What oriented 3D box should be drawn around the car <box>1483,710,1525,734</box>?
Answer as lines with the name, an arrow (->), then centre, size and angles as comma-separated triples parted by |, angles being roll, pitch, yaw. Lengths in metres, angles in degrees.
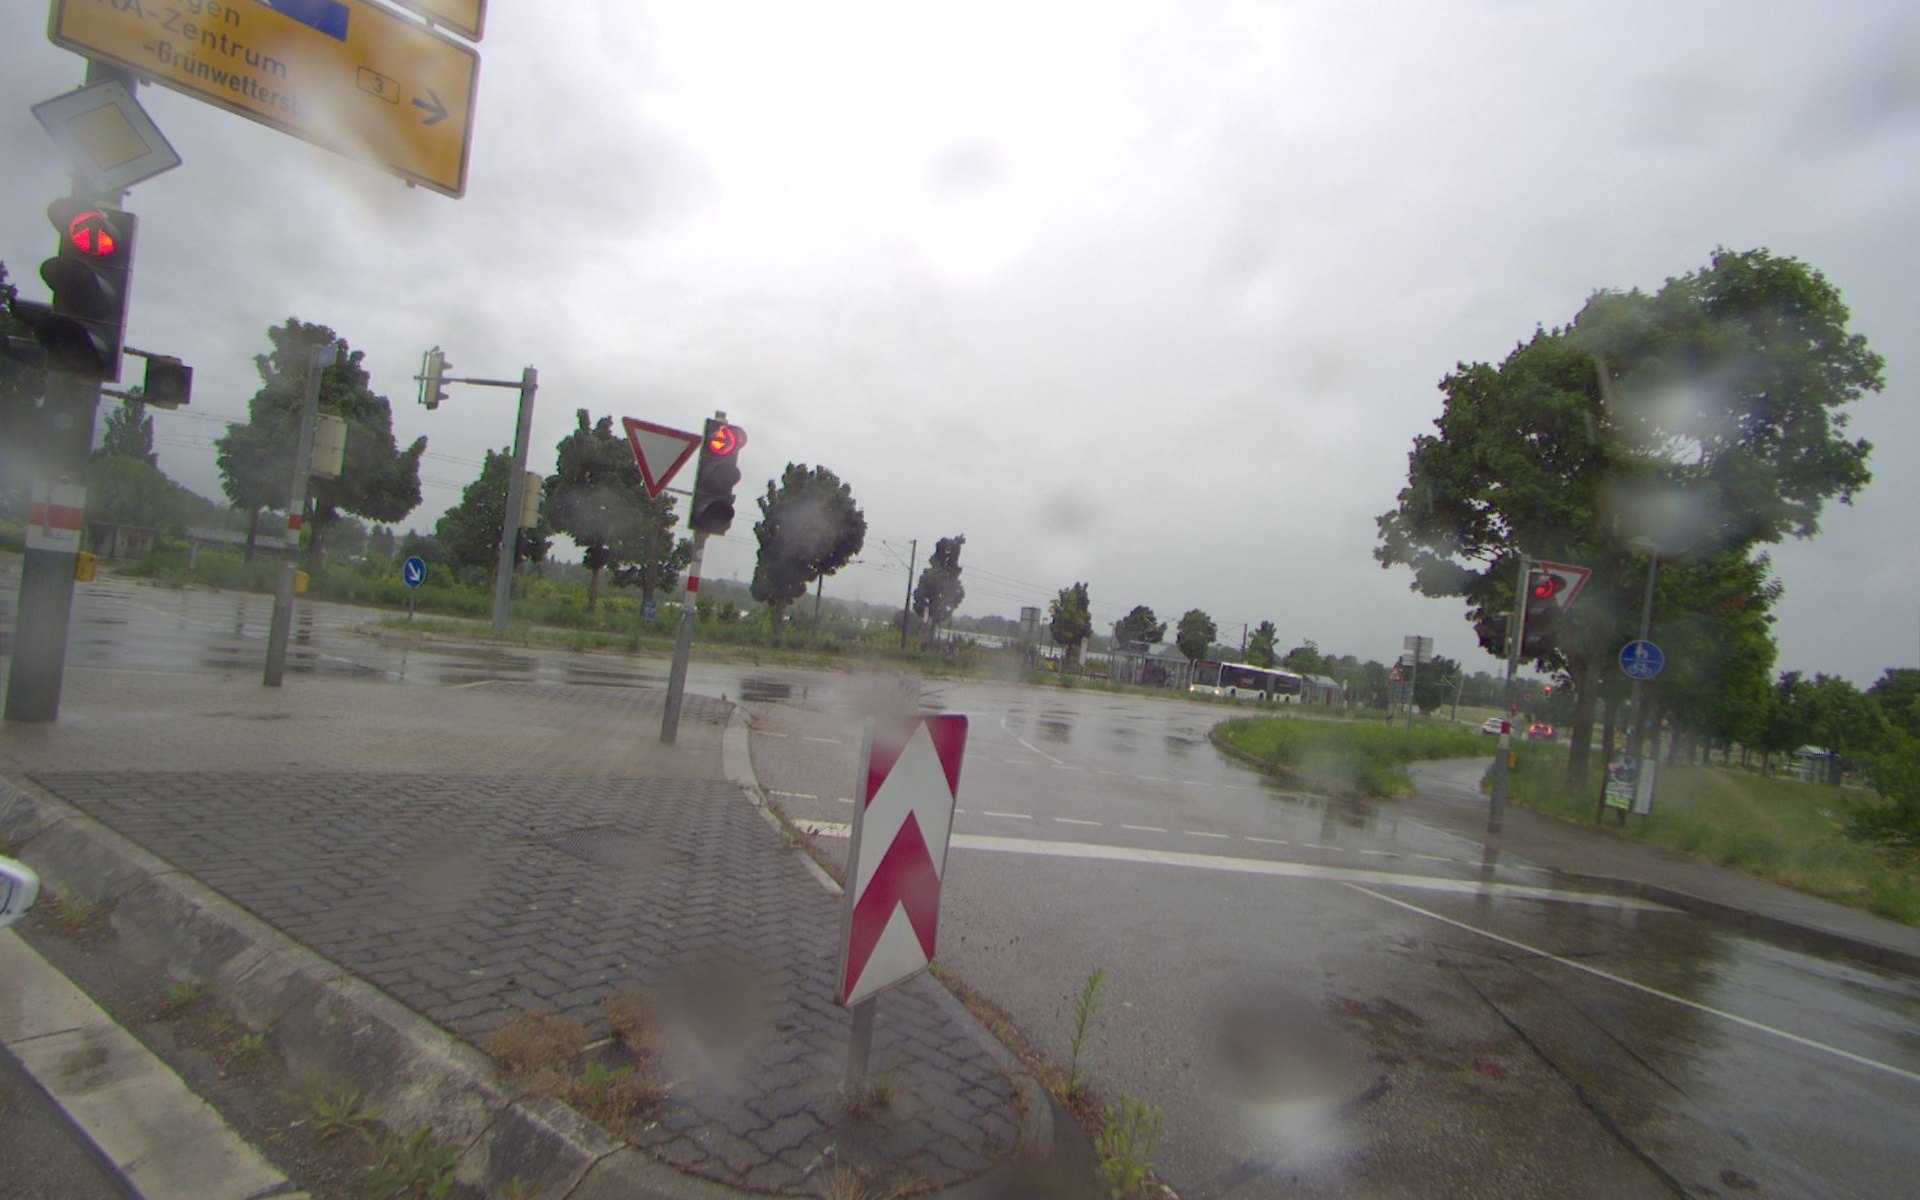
car -> 39.915, 8.950, 73.716 | 1.853, 1.370, 4.036 | 6, -2, 40

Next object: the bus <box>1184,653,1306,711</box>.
bus -> 24.290, 7.038, 84.312 | 2.715, 3.828, 18.378 | 7, -2, 38

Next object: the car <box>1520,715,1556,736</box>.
car -> 48.390, 10.492, 84.137 | 1.853, 1.370, 4.036 | 6, -2, 40
